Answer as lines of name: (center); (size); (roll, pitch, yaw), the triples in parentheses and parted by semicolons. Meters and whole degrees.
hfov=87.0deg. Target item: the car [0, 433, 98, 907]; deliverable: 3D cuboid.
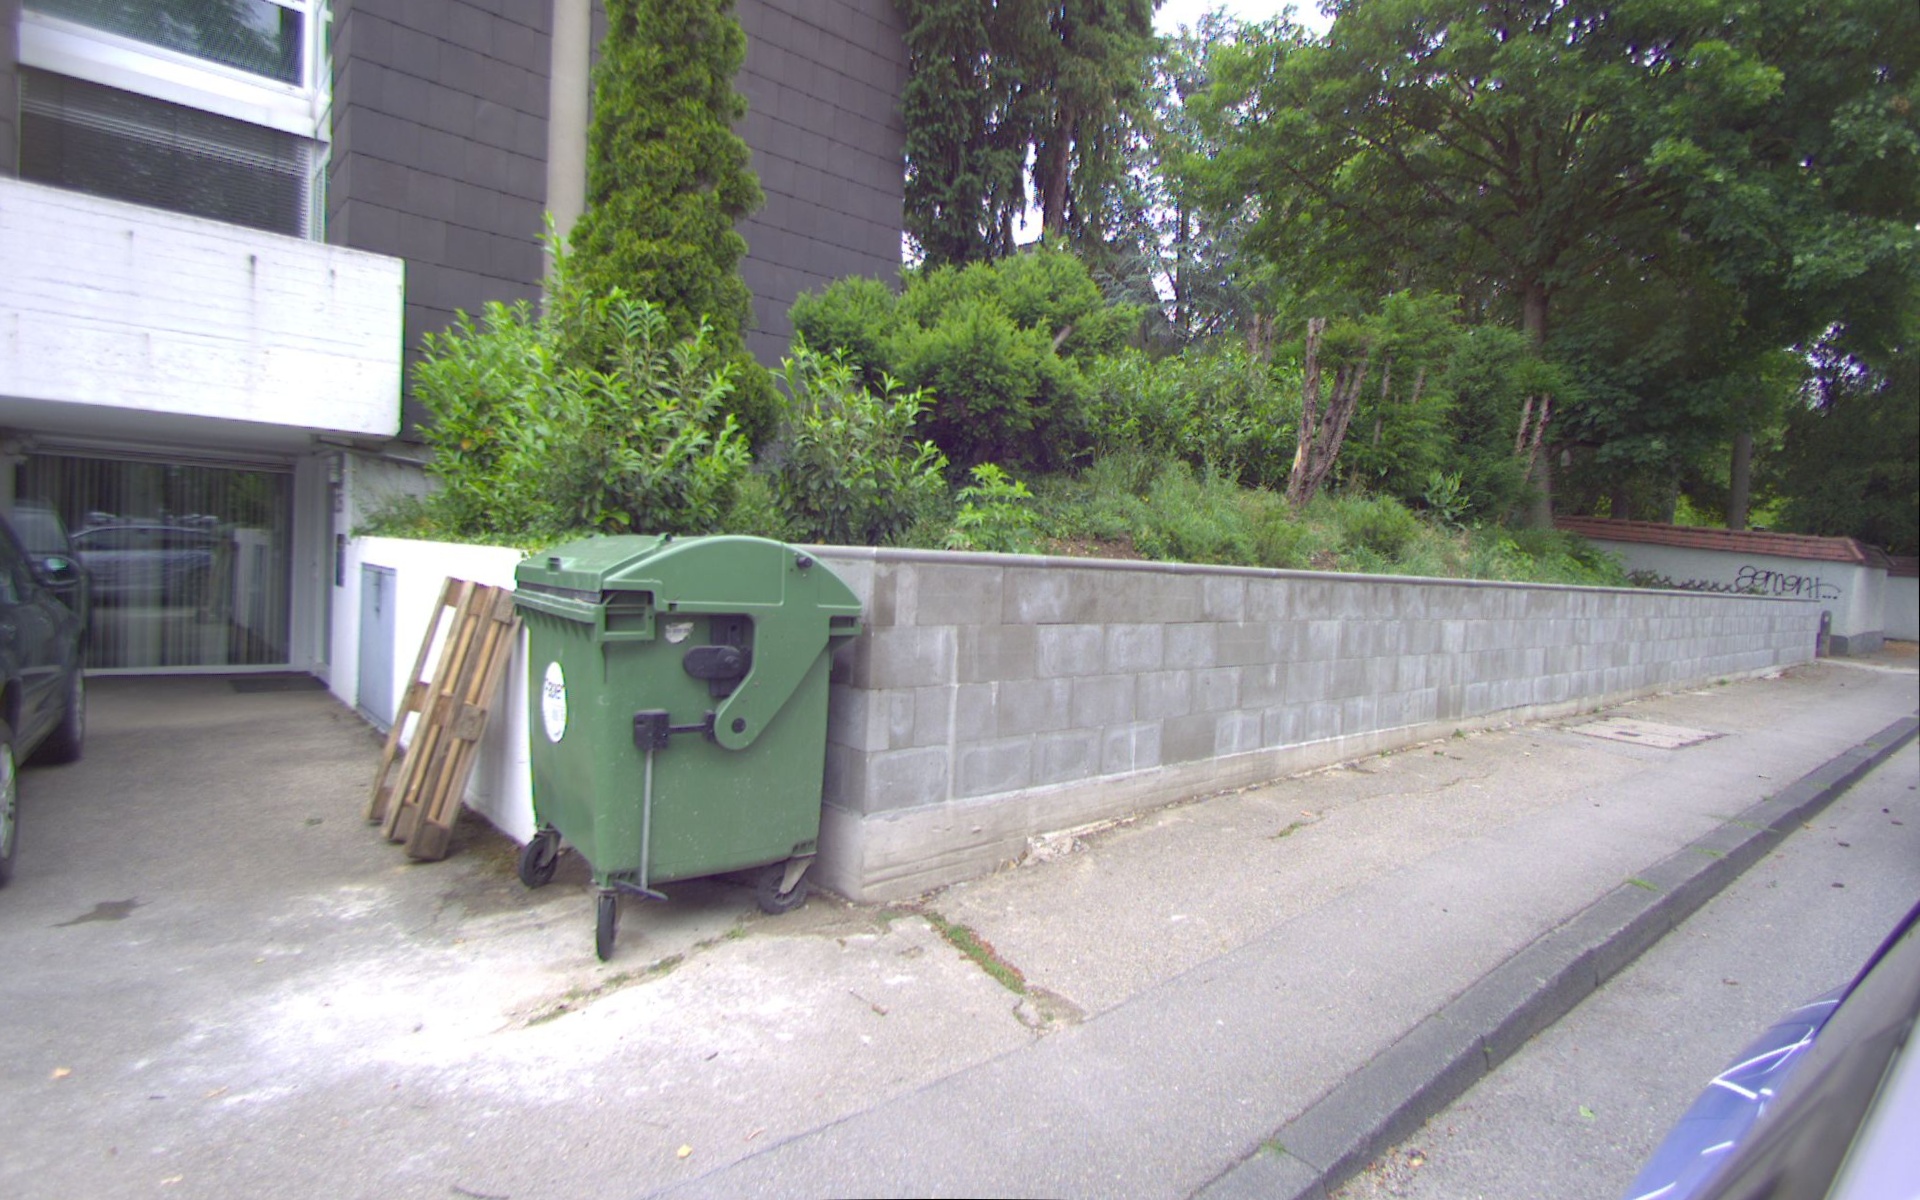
car: (-5.024, 0.148, 4.355); (1.712, 1.671, 3.914); (0, 4, -36)

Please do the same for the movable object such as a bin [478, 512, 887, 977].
movable object such as a bin: (-1.160, 0.418, 4.080); (1.096, 1.469, 1.407); (0, 3, -40)
